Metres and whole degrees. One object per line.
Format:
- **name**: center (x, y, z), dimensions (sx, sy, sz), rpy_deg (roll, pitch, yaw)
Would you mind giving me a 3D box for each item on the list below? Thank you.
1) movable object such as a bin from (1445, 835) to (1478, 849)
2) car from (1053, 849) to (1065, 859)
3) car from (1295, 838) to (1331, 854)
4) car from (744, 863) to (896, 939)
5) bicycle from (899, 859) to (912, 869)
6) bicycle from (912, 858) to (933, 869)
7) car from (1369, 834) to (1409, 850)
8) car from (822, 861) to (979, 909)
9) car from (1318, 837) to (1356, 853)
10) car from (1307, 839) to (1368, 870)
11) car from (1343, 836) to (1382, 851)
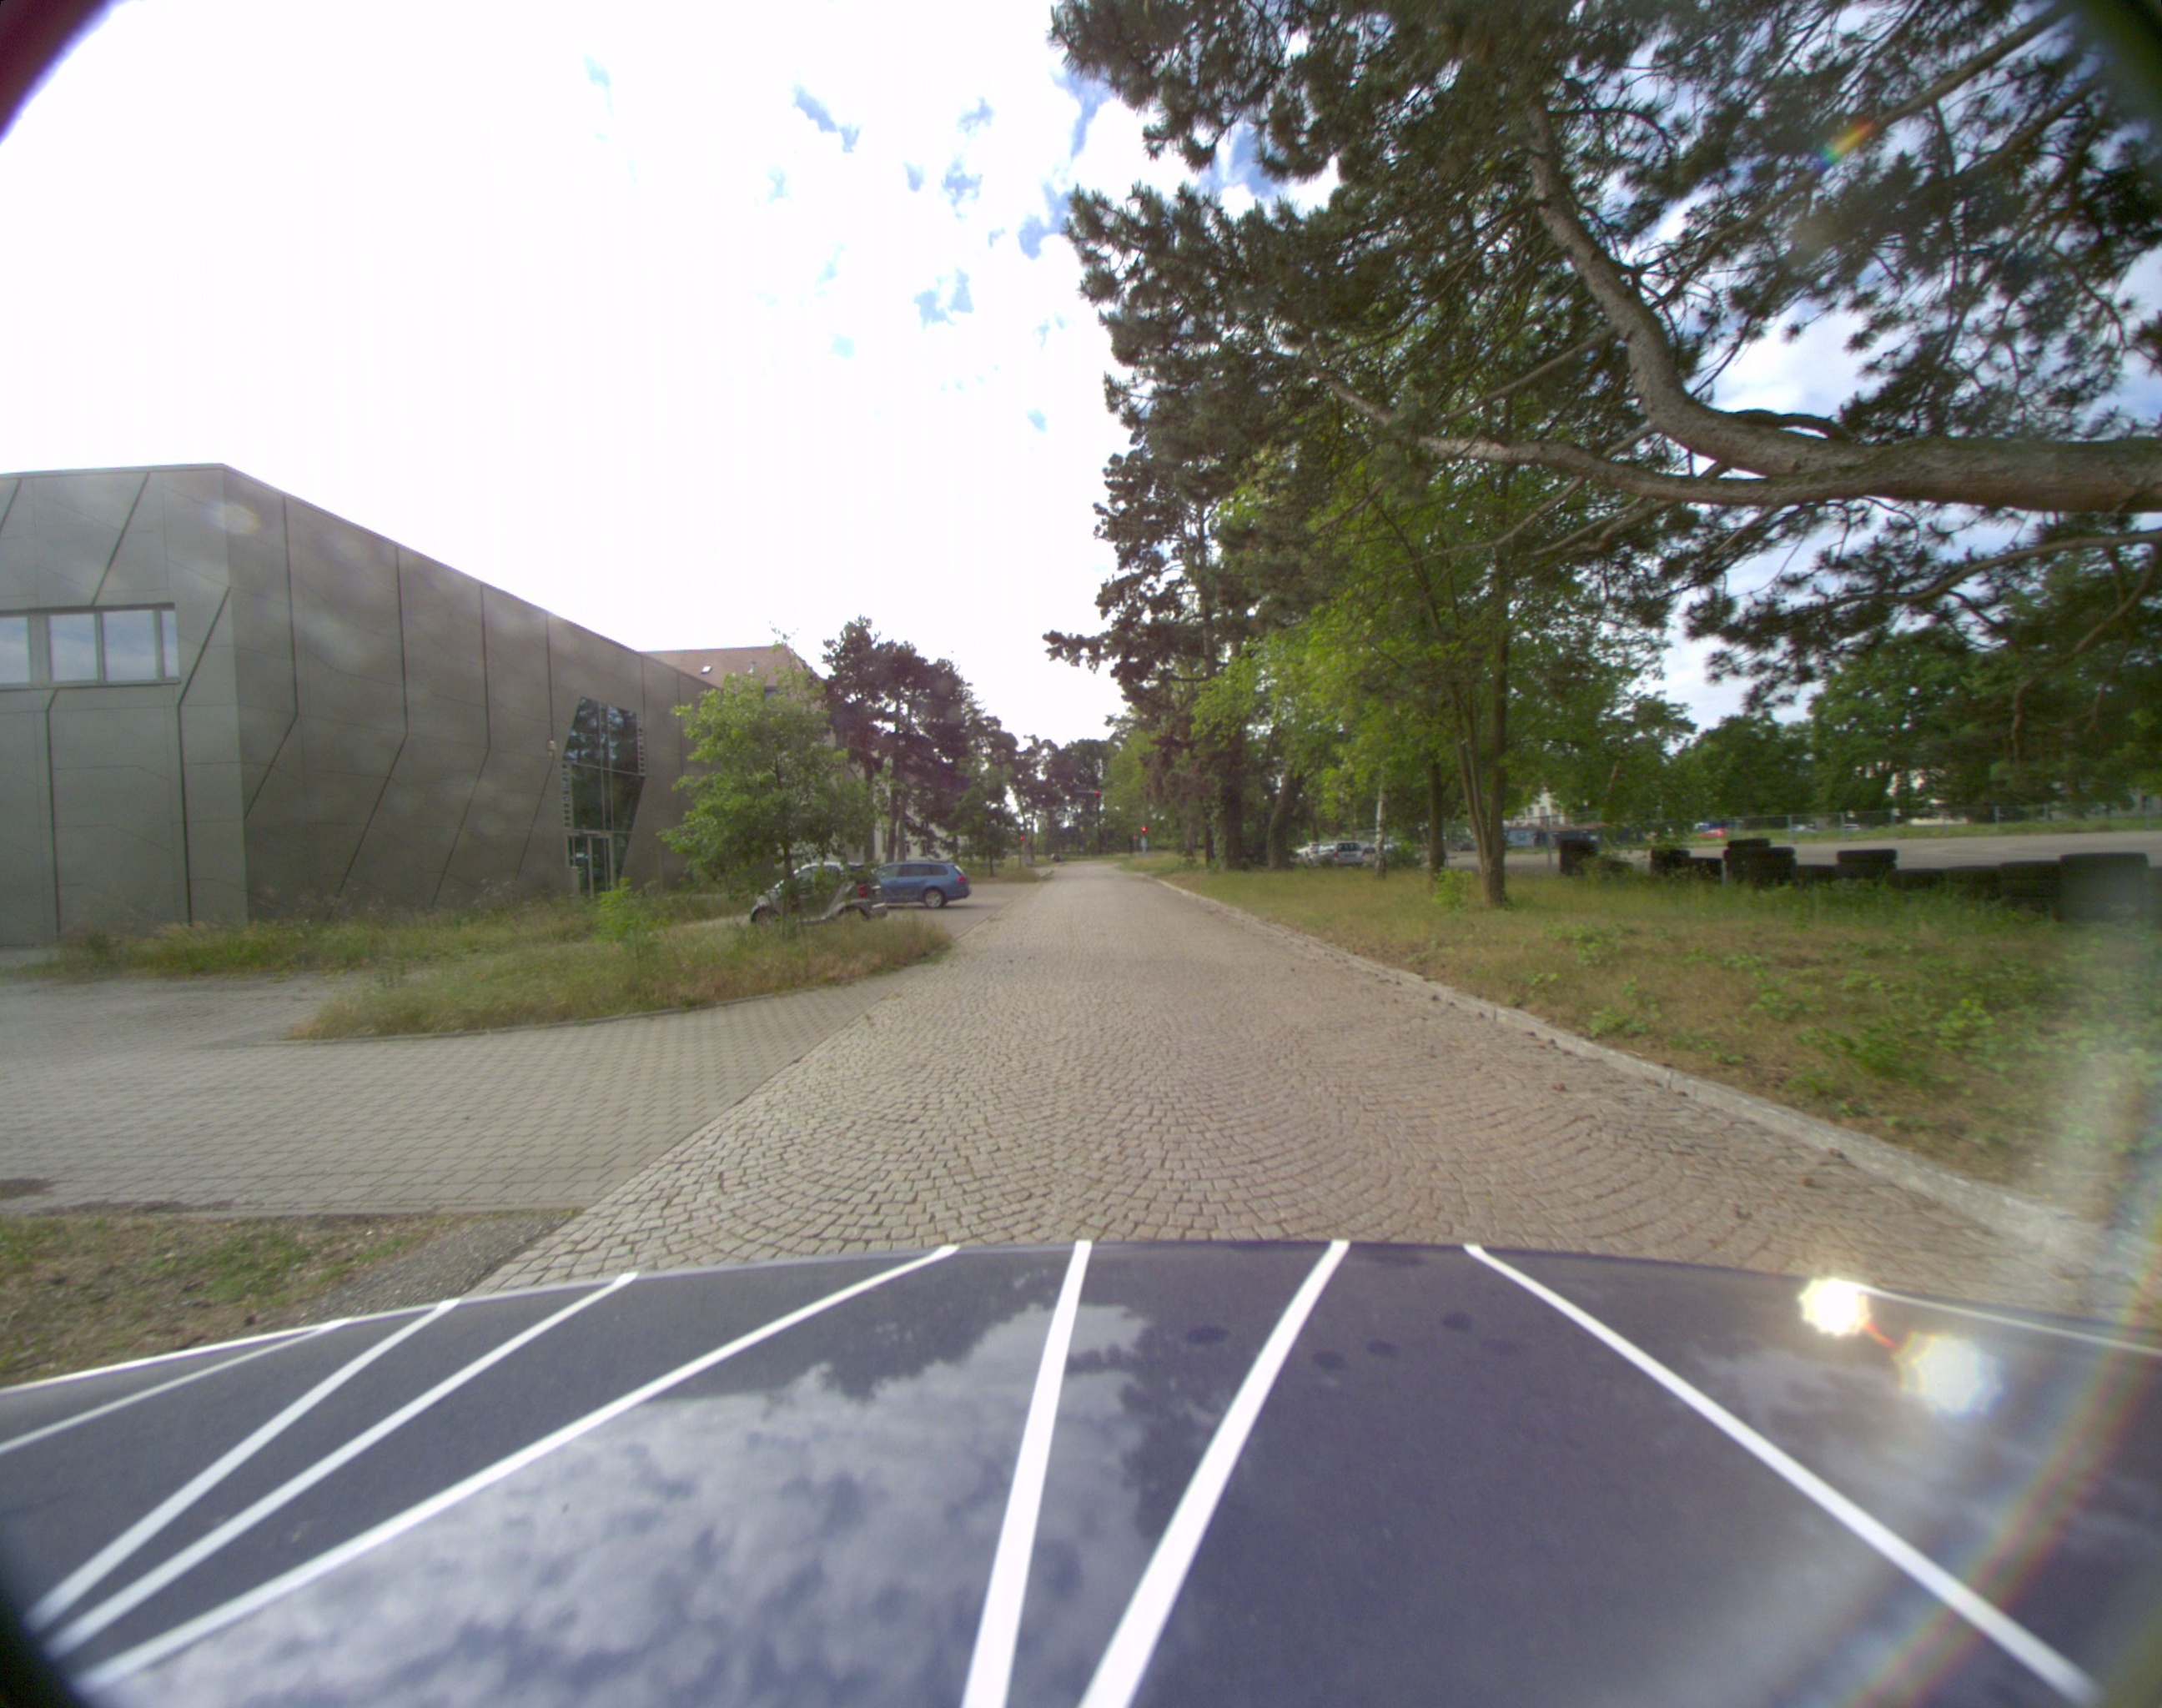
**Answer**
- **movable object such as a bin**: center (32.058, -0.986, 64.065), dimensions (1.057, 1.065, 2.719), rpy_deg (-2, 1, -8)
- **car**: center (-4.062, -0.029, 139.637), dimensions (1.999, 1.777, 3.997), rpy_deg (-2, 1, -6)
- **car**: center (23.134, -0.785, 75.805), dimensions (1.999, 1.441, 4.451), rpy_deg (-2, 1, -3)
- **car**: center (-5.683, 0.996, 16.803), dimensions (2.748, 1.573, 1.682), rpy_deg (0, 1, 0)
- **bicycle**: center (-19.315, 1.069, 83.541), dimensions (0.799, 1.051, 2.199), rpy_deg (-2, 1, 3)
- **bicycle**: center (-17.181, 0.996, 82.430), dimensions (2.164, 1.051, 0.717), rpy_deg (-2, 1, -3)
- **car**: center (31.104, -1.183, 76.871), dimensions (1.999, 1.441, 4.451), rpy_deg (-2, 1, -3)
- **car**: center (-5.612, 0.953, 24.134), dimensions (4.537, 1.441, 1.931), rpy_deg (0, 1, -2)
- **car**: center (25.641, -0.913, 76.272), dimensions (1.999, 1.441, 4.451), rpy_deg (-2, 1, -3)
- **car**: center (12.853, 0.000, 38.293), dimensions (1.670, 1.402, 3.722), rpy_deg (-2, 1, -2)
- **car**: center (28.222, -1.036, 76.357), dimensions (1.999, 1.441, 4.451), rpy_deg (-2, 1, -3)
